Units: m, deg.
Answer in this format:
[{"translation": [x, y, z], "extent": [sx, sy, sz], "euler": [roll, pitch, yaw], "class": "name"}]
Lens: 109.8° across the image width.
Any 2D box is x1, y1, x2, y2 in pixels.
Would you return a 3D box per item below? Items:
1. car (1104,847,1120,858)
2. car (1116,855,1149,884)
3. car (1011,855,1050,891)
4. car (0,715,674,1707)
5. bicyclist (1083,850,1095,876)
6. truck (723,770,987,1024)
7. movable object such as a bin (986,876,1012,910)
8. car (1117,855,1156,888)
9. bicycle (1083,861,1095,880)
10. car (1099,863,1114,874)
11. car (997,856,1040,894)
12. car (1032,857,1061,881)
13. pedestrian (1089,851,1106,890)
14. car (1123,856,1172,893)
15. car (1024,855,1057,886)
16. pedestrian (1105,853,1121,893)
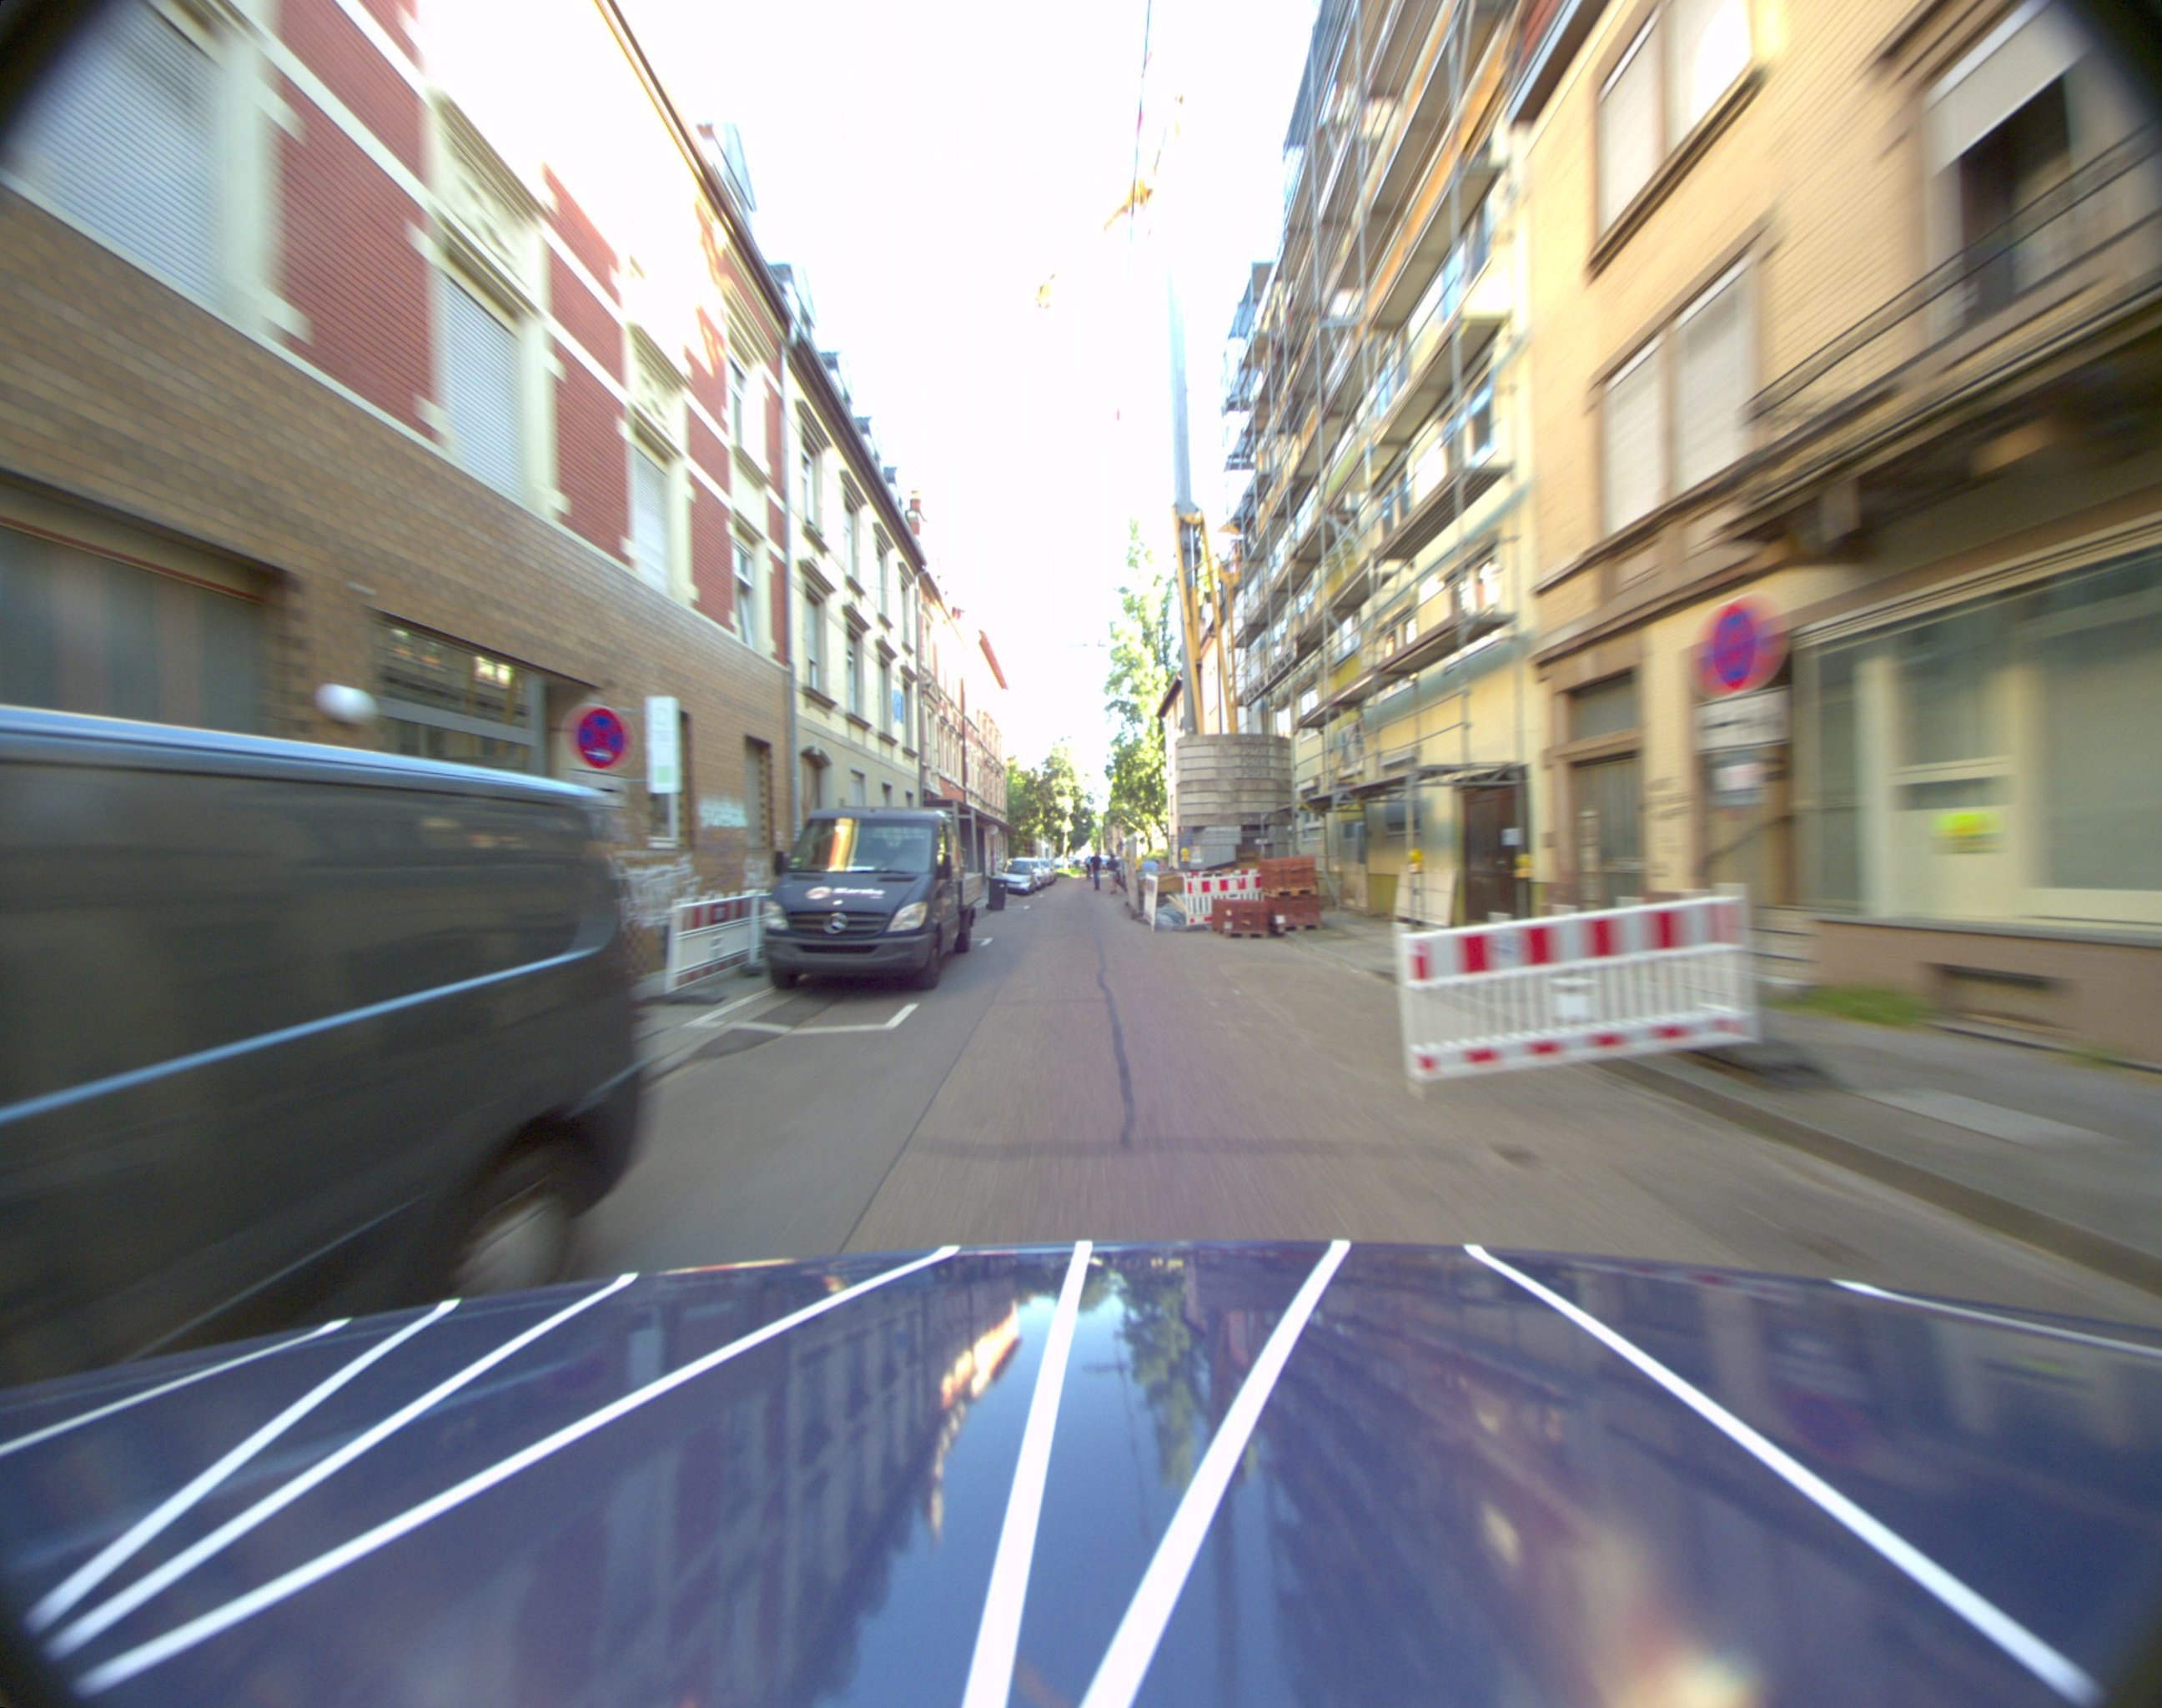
[{"translation": [4.326, -0.208, 107.286], "extent": [2.168, 1.508, 5.376], "euler": [0, 0, 1], "class": "car"}, {"translation": [2.876, 0.821, 43.241], "extent": [1.646, 1.565, 4.249], "euler": [0, 0, 1], "class": "car"}, {"translation": [-2.555, 0.916, 39.002], "extent": [1.603, 1.652, 4.060], "euler": [-4, 0, 1], "class": "car"}, {"translation": [-2.586, 0.820, 0.682], "extent": [1.849, 1.972, 4.576], "euler": [-3, 0, 0], "class": "car"}, {"translation": [0.510, 0.568, 48.786], "extent": [0.666, 1.668, 0.892], "euler": [0, 1, -2], "class": "bicyclist"}, {"translation": [-2.818, 0.469, 11.308], "extent": [2.154, 2.642, 6.252], "euler": [3, 0, -2], "class": "truck"}, {"translation": [-2.582, 1.231, 24.050], "extent": [0.742, 1.051, 0.687], "euler": [0, 0, 0], "class": "movable object such as a bin"}, {"translation": [2.781, 0.855, 38.658], "extent": [1.646, 1.483, 4.000], "euler": [-2, 0, 1], "class": "car"}, {"translation": [0.509, 1.025, 48.765], "extent": [0.688, 1.151, 1.846], "euler": [0, 0, -2], "class": "bicycle"}, {"translation": [3.069, 1.765, 93.222], "extent": [1.759, 1.293, 4.249], "euler": [0, 0, 1], "class": "car"}, {"translation": [-2.769, 0.923, 34.459], "extent": [1.525, 1.525, 3.463], "euler": [4, 0, 1], "class": "car"}, {"translation": [-2.277, 0.983, 50.894], "extent": [1.646, 1.442, 4.166], "euler": [-3, 0, 1], "class": "car"}, {"translation": [0.767, 0.749, 35.063], "extent": [0.740, 1.743, 0.997], "euler": [-1, 0, 1], "class": "pedestrian"}, {"translation": [2.805, 0.847, 33.108], "extent": [1.771, 1.500, 4.696], "euler": [0, 0, 1], "class": "car"}, {"translation": [-2.355, 0.911, 44.504], "extent": [1.603, 1.626, 3.774], "euler": [-4, 0, 1], "class": "car"}, {"translation": [1.335, 0.769, 31.570], "extent": [0.594, 1.634, 0.813], "euler": [1, 1, 0], "class": "pedestrian"}]
